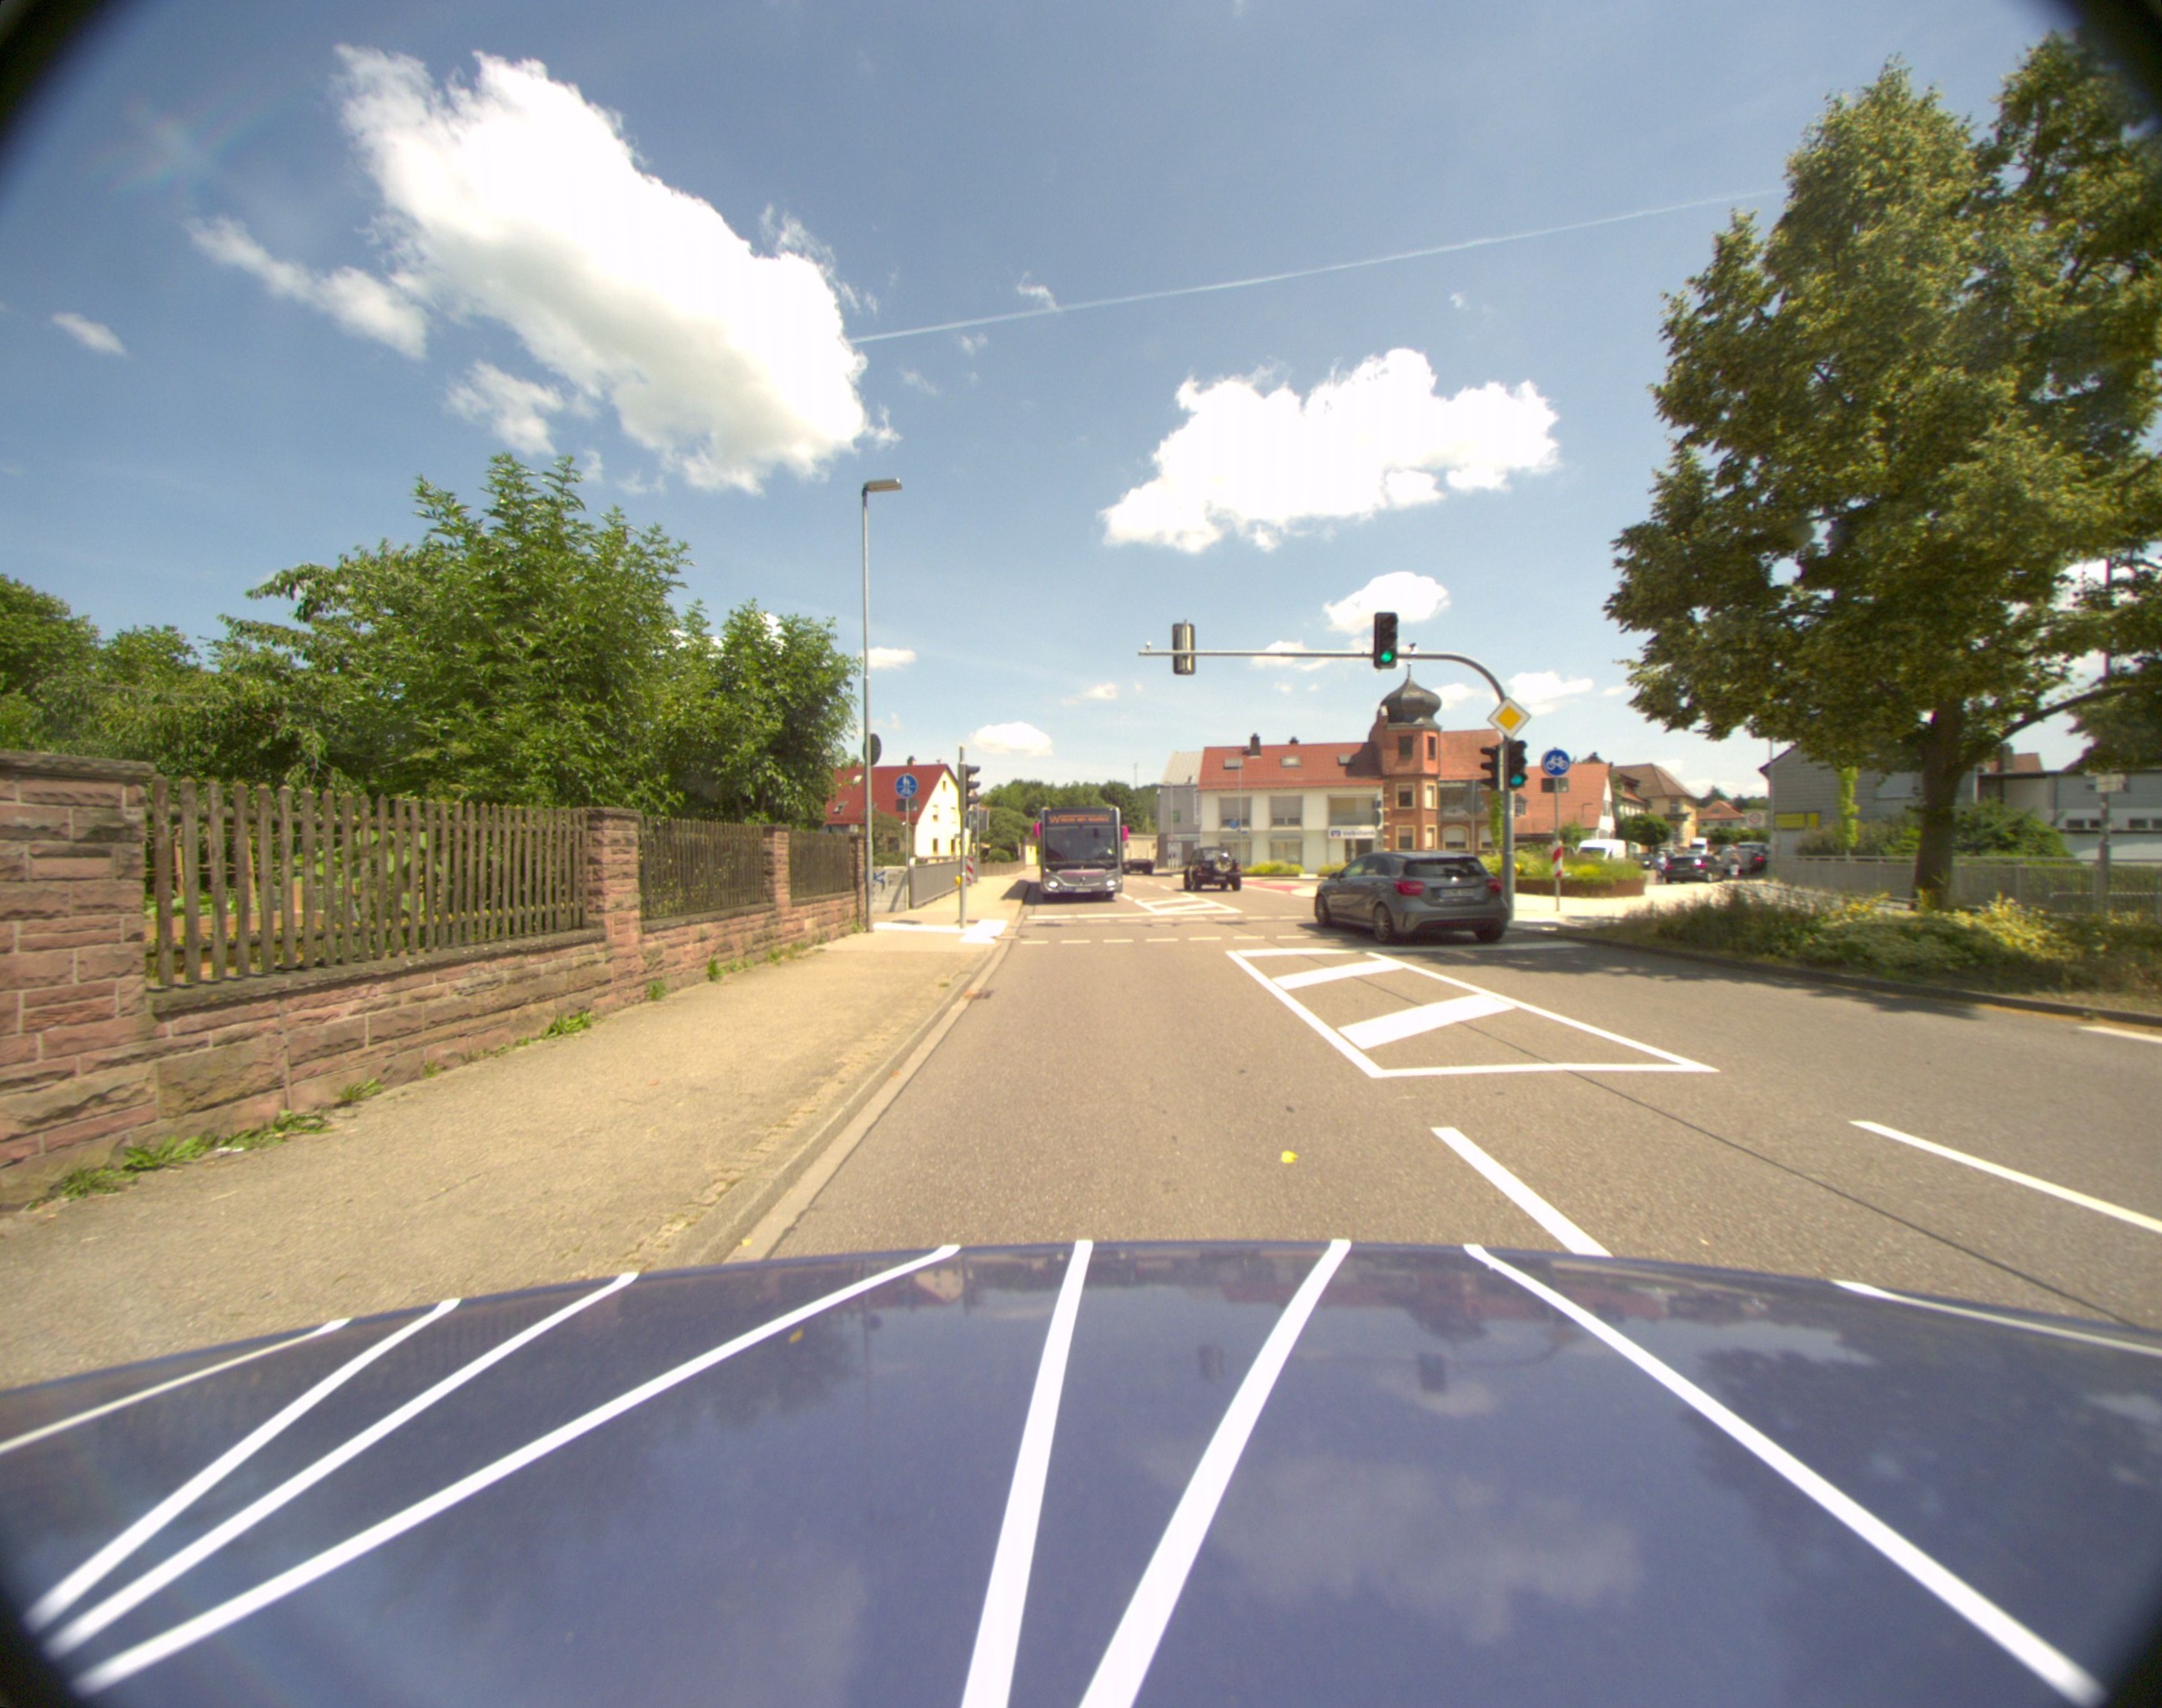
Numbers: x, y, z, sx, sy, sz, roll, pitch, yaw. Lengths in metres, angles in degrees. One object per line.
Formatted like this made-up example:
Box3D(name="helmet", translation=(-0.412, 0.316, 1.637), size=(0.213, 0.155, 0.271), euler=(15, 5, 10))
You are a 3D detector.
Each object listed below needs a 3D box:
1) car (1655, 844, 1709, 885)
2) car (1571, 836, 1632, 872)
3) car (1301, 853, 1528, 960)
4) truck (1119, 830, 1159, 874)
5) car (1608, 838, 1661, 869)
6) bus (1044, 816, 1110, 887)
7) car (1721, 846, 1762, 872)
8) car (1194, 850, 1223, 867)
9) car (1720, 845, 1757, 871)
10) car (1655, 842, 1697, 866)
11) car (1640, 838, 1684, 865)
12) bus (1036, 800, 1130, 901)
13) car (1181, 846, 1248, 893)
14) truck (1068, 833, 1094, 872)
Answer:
Box3D(name="car", translation=(30.897, 0.488, 39.037), size=(1.994, 2.002, 4.009), euler=(0, 0, 41))
Box3D(name="car", translation=(35.889, -0.012, 52.334), size=(5.122, 2.332, 2.167), euler=(0, 2, -40))
Box3D(name="car", translation=(5.351, 0.750, 12.914), size=(1.868, 1.434, 4.215), euler=(1, 1, -2))
Box3D(name="truck", translation=(4.505, -0.215, 59.661), size=(2.508, 3.217, 6.038), euler=(1, 1, -1))
Box3D(name="car", translation=(43.574, -0.044, 59.750), size=(5.122, 2.332, 2.167), euler=(0, 2, -40))
Box3D(name="bus", translation=(-0.176, 0.002, 36.603), size=(2.755, 2.949, 9.282), euler=(1, -1, 0))
Box3D(name="car", translation=(47.062, 0.334, 54.227), size=(2.063, 1.718, 4.008), euler=(2, 1, 40))
Box3D(name="car", translation=(12.319, 0.457, 73.092), size=(1.995, 1.565, 4.259), euler=(1, 0, 20))
Box3D(name="car", translation=(50.590, 0.292, 58.455), size=(1.918, 1.867, 4.008), euler=(2, 2, 43))
Box3D(name="car", translation=(57.884, -0.023, 73.933), size=(5.122, 2.332, 2.167), euler=(0, 2, -40))
Box3D(name="car", translation=(53.486, -0.247, 69.888), size=(5.122, 2.332, 2.167), euler=(0, 2, -40))
Box3D(name="bus", translation=(-0.034, 0.007, 27.285), size=(2.756, 2.949, 9.281), euler=(1, -1, -1))
Box3D(name="car", translation=(4.993, 0.538, 28.911), size=(1.743, 1.641, 3.667), euler=(-1, 0, -3))
Box3D(name="truck", translation=(0.009, -0.140, 60.224), size=(1.998, 3.000, 3.999), euler=(1, 1, 0))
